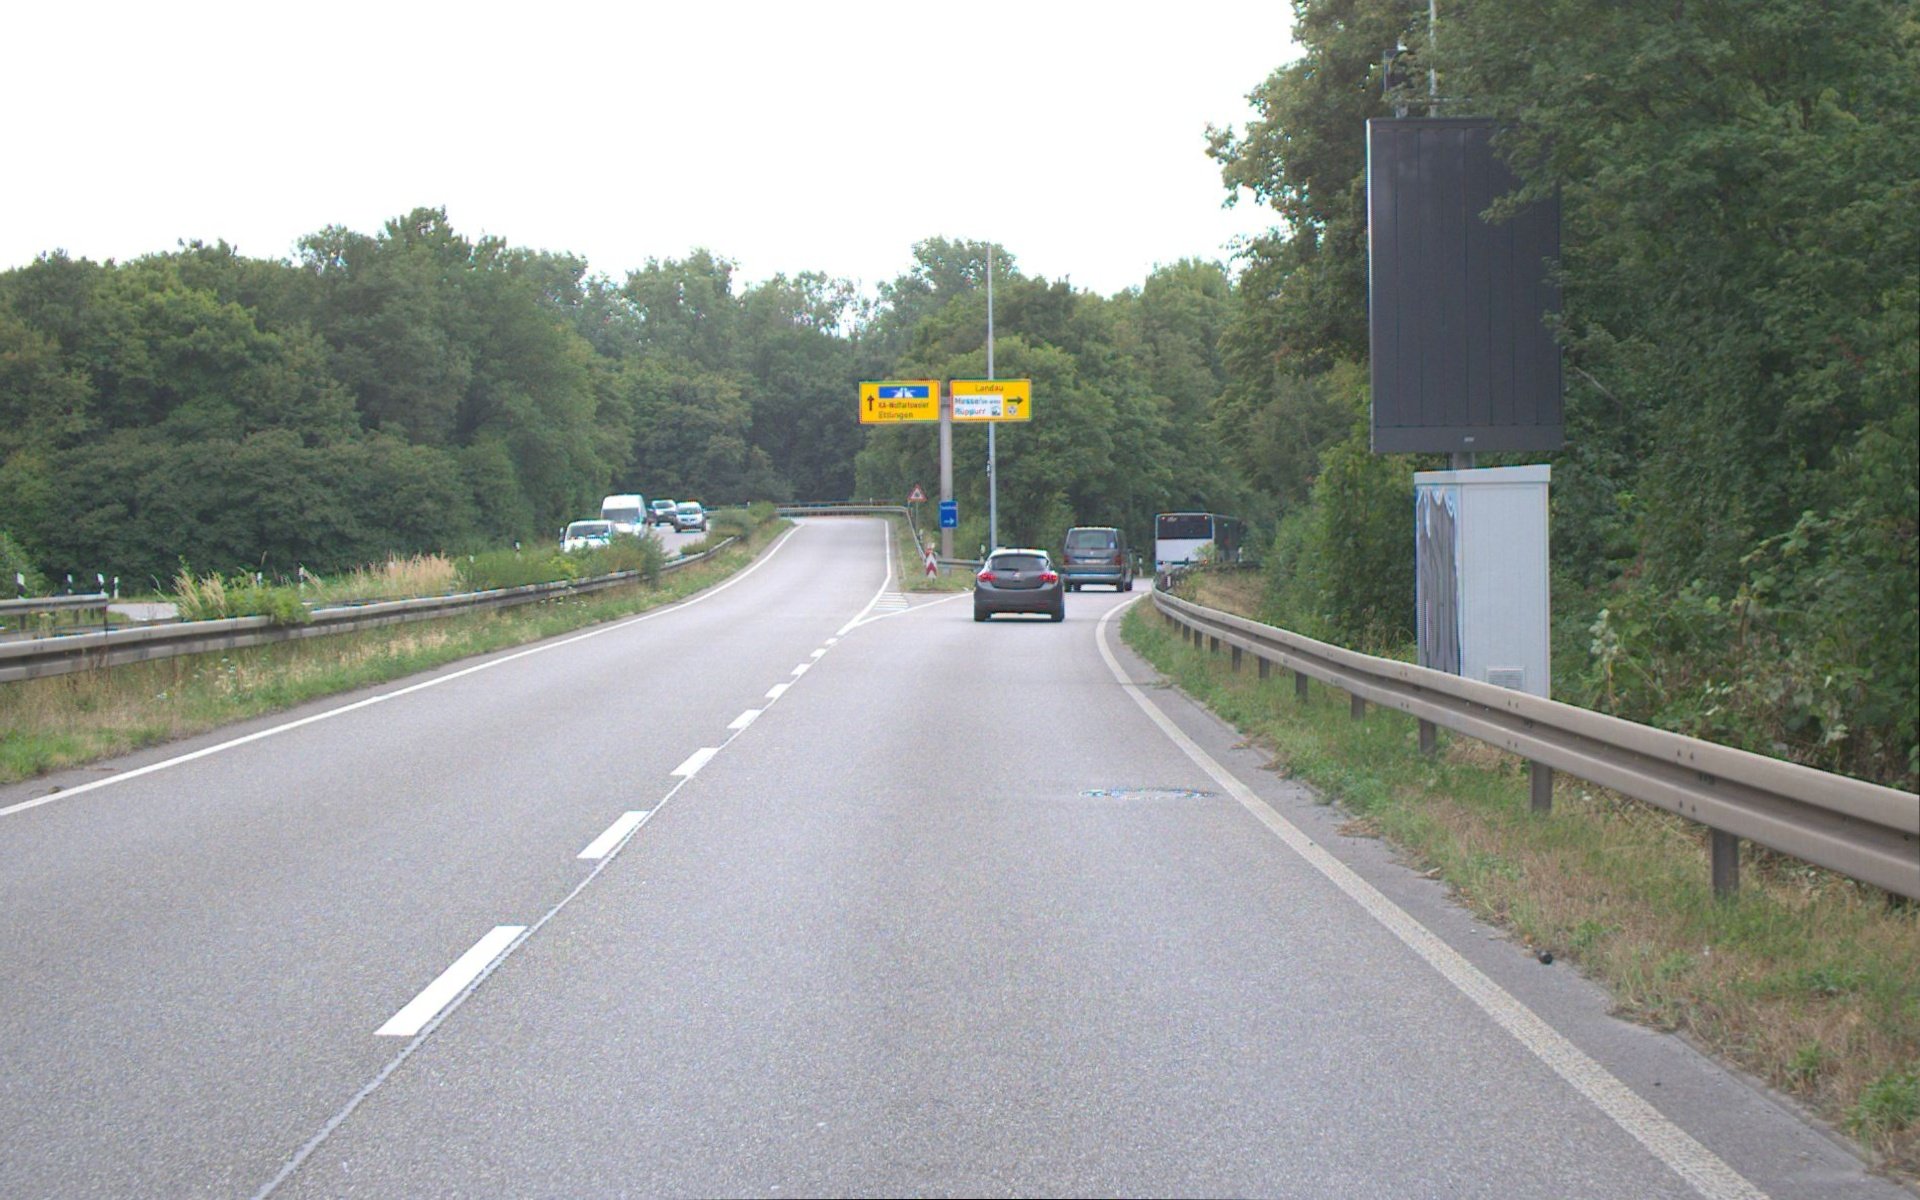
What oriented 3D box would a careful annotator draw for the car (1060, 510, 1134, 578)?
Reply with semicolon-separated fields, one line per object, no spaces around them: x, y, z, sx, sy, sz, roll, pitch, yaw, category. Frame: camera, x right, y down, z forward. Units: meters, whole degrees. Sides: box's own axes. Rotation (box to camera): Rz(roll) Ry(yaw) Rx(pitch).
4.217;-1.695;105.484;2.148;2.007;3.999;0;0;4;car

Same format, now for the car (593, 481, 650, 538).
-15.624;-4.222;159.042;2.118;2.582;5.040;0;2;0;car

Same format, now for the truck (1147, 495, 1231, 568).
9.620;-2.830;143.848;2.981;2.875;7.988;0;0;8;truck

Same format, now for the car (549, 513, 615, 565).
-14.127;-2.284;128.625;1.993;1.840;4.001;0;2;0;car

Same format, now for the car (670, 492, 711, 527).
-15.461;-5.197;197.534;1.993;2.006;4.000;0;2;0;car

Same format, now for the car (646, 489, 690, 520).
-19.996;-6.524;235.191;1.993;2.007;4.001;0;0;-20;car

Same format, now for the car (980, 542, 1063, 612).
1.236;-0.453;70.369;1.625;1.373;4.000;0;0;0;car
